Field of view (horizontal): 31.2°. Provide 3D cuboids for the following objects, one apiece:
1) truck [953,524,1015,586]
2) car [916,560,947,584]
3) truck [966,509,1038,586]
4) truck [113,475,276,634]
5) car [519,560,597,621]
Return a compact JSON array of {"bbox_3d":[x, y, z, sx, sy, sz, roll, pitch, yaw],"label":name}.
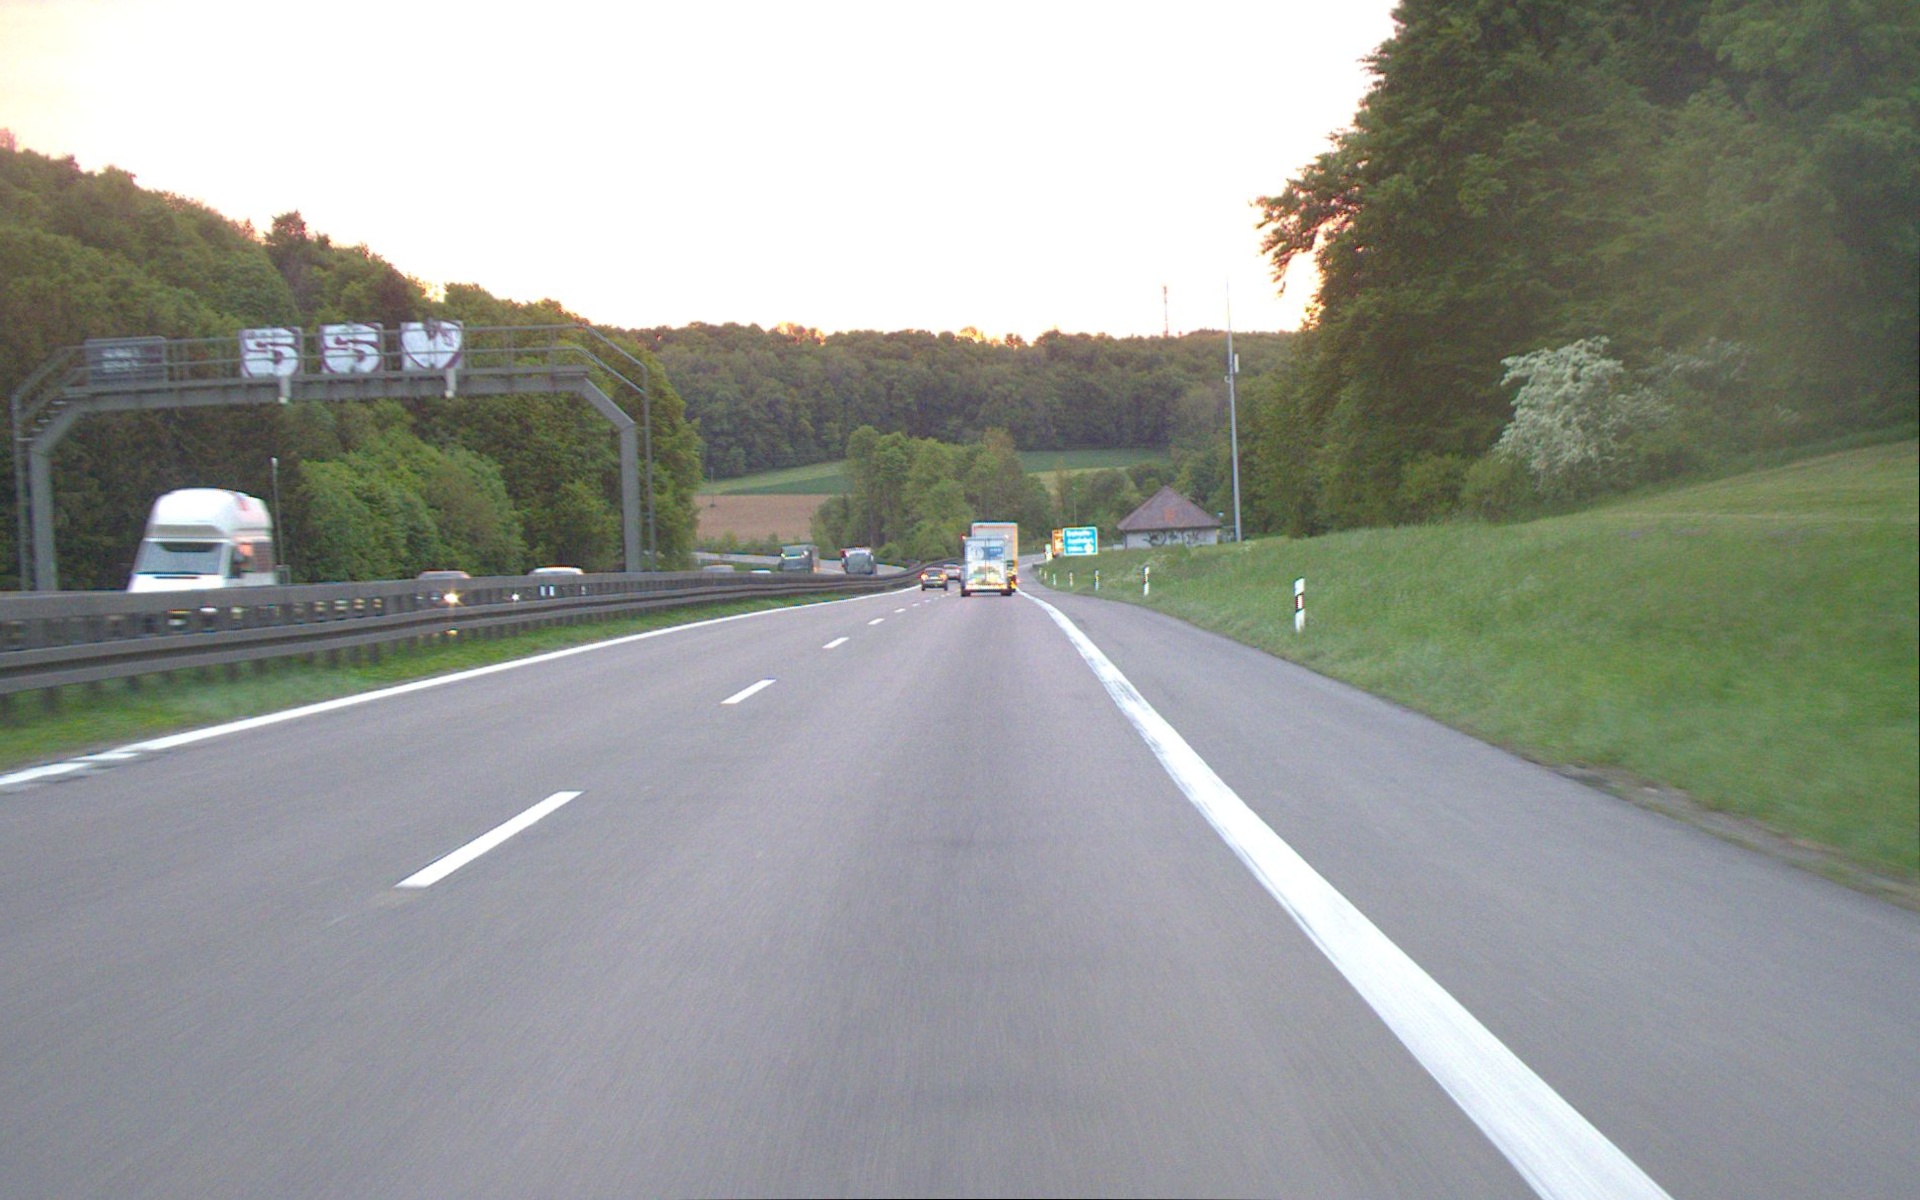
[{"bbox_3d":[1.095,-2.021,153.412,2.276,2.656,5.235,-2,1,5],"label":"truck"},{"bbox_3d":[-1.924,-1.893,230.139,1.993,1.512,4.000,-1,2,0],"label":"car"},{"bbox_3d":[2.421,-3.179,202.293,3.958,4.272,14.324,-1,2,0],"label":"truck"},{"bbox_3d":[-15.386,-0.932,69.386,1.993,3.057,5.595,0,1,0],"label":"truck"},{"bbox_3d":[-10.889,-0.283,93.333,1.749,1.590,4.000,0,1,-2],"label":"car"}]
